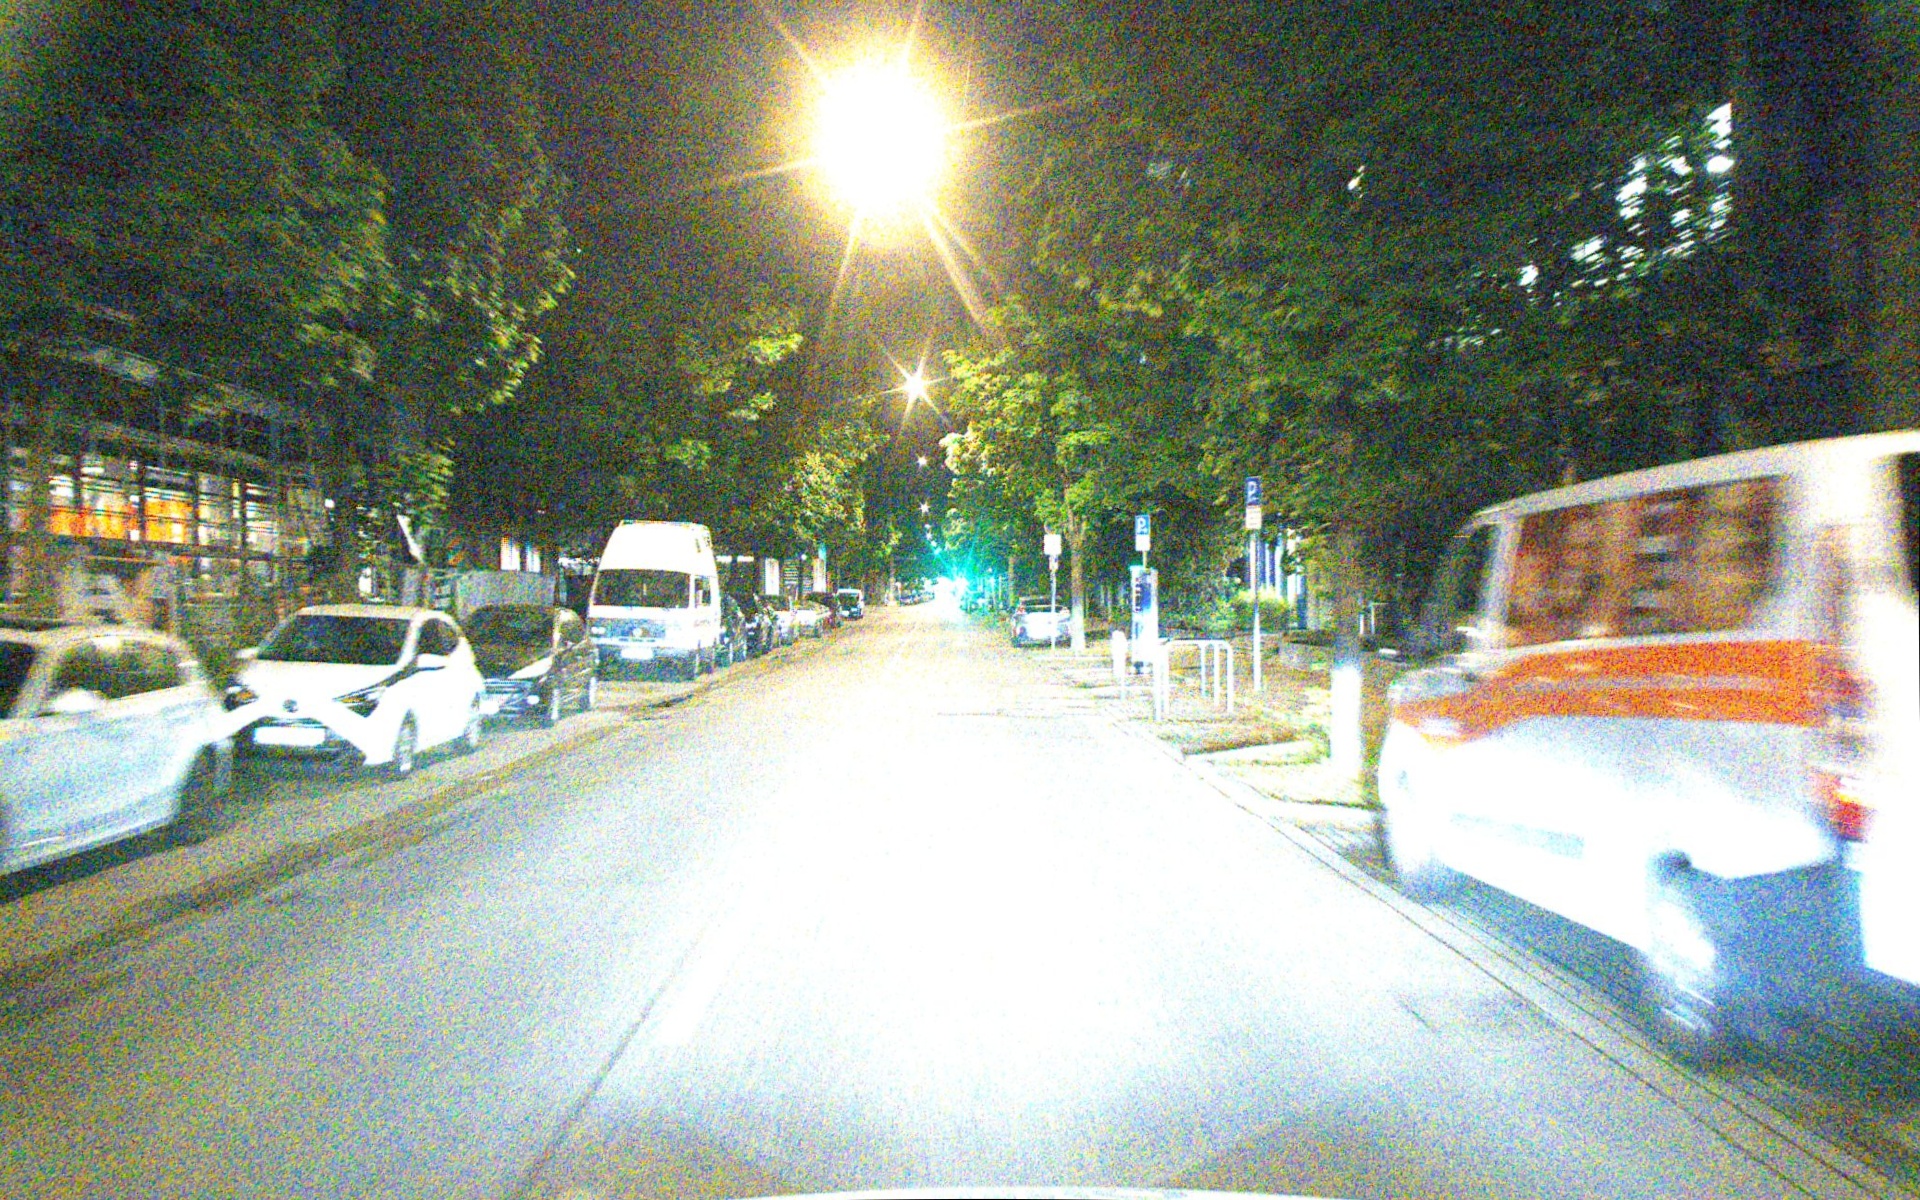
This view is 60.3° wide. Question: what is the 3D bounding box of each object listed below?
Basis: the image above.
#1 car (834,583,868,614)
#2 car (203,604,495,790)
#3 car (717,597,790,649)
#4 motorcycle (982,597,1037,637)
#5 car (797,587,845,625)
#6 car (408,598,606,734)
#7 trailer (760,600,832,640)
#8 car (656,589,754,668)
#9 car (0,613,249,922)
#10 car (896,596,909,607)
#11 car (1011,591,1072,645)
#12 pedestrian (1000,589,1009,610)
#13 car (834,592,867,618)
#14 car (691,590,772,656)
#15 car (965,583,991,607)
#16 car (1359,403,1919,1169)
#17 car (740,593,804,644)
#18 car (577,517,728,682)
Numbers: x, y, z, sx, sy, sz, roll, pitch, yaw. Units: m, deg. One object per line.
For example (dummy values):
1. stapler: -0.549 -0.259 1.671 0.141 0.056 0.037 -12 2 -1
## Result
1. car: -6.941 -0.109 105.940 1.785 1.843 4.210 3 0 0
2. car: -5.547 0.811 15.422 1.516 1.480 3.367 1 0 -2
3. car: -6.051 0.636 48.975 1.670 1.436 4.632 0 0 -1
4. motorcycle: 1.630 0.547 55.083 0.914 1.306 2.216 -1 0 -25
5. car: -6.453 0.271 76.896 1.785 1.626 4.073 3 0 0
6. car: -5.760 0.776 21.451 1.612 1.531 3.860 0 1 -2
7. trailer: -6.065 0.714 61.692 2.067 1.358 5.435 2 0 0
8. car: -5.802 0.598 38.014 1.707 1.634 4.115 1 1 -2
9. car: -5.518 0.854 9.277 1.415 1.454 3.902 2 0 -2
10. car: -7.842 0.175 226.874 1.705 1.440 3.751 0 0 0
11. car: 2.366 0.503 48.912 1.634 1.454 4.148 -3 0 1
12. pedestrian: 3.839 -0.061 142.783 0.691 1.752 0.821 -2 0 -1
13. car: -6.498 0.284 98.546 1.665 1.458 3.828 3 0 0
14. car: -5.959 0.575 43.492 1.707 1.634 4.296 1 0 -3
15. car: 1.277 -0.377 119.353 1.815 1.682 4.209 -2 1 0
16. car: 3.223 0.439 6.669 1.912 1.998 4.601 -2 0 -2
17. car: -6.090 0.581 54.011 1.682 1.528 4.204 2 0 -2
18. car: -5.921 -0.031 32.458 2.135 2.960 4.908 1 0 -2
